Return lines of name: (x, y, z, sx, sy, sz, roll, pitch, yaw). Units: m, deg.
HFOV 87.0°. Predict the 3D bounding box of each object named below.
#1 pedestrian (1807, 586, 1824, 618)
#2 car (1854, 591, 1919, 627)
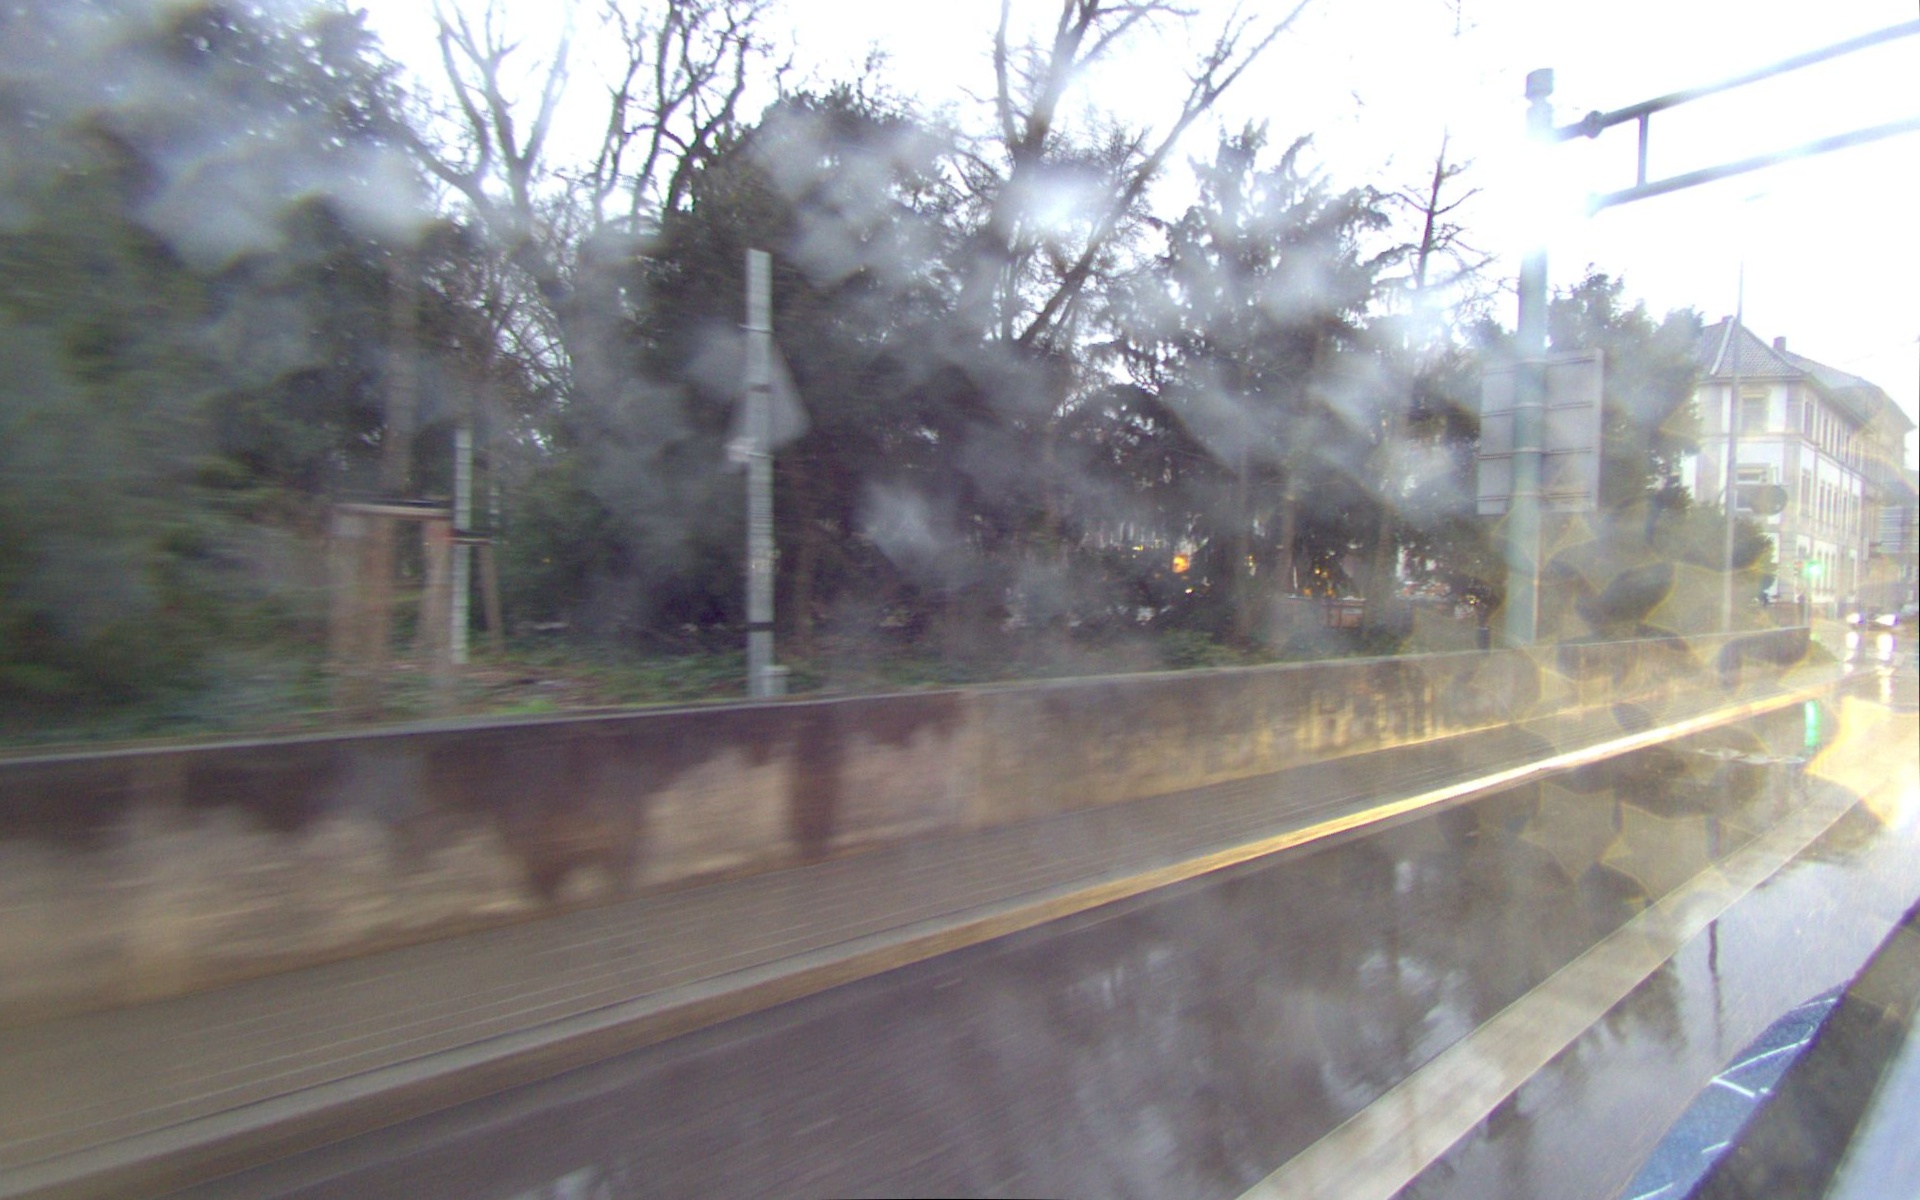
pedestrian: (41.661, 0.098, 49.276, 0.577, 1.529, 0.520, 0, 2, -41)
car: (41.359, 0.413, 43.500, 3.934, 1.429, 1.873, 2, 1, 9)
